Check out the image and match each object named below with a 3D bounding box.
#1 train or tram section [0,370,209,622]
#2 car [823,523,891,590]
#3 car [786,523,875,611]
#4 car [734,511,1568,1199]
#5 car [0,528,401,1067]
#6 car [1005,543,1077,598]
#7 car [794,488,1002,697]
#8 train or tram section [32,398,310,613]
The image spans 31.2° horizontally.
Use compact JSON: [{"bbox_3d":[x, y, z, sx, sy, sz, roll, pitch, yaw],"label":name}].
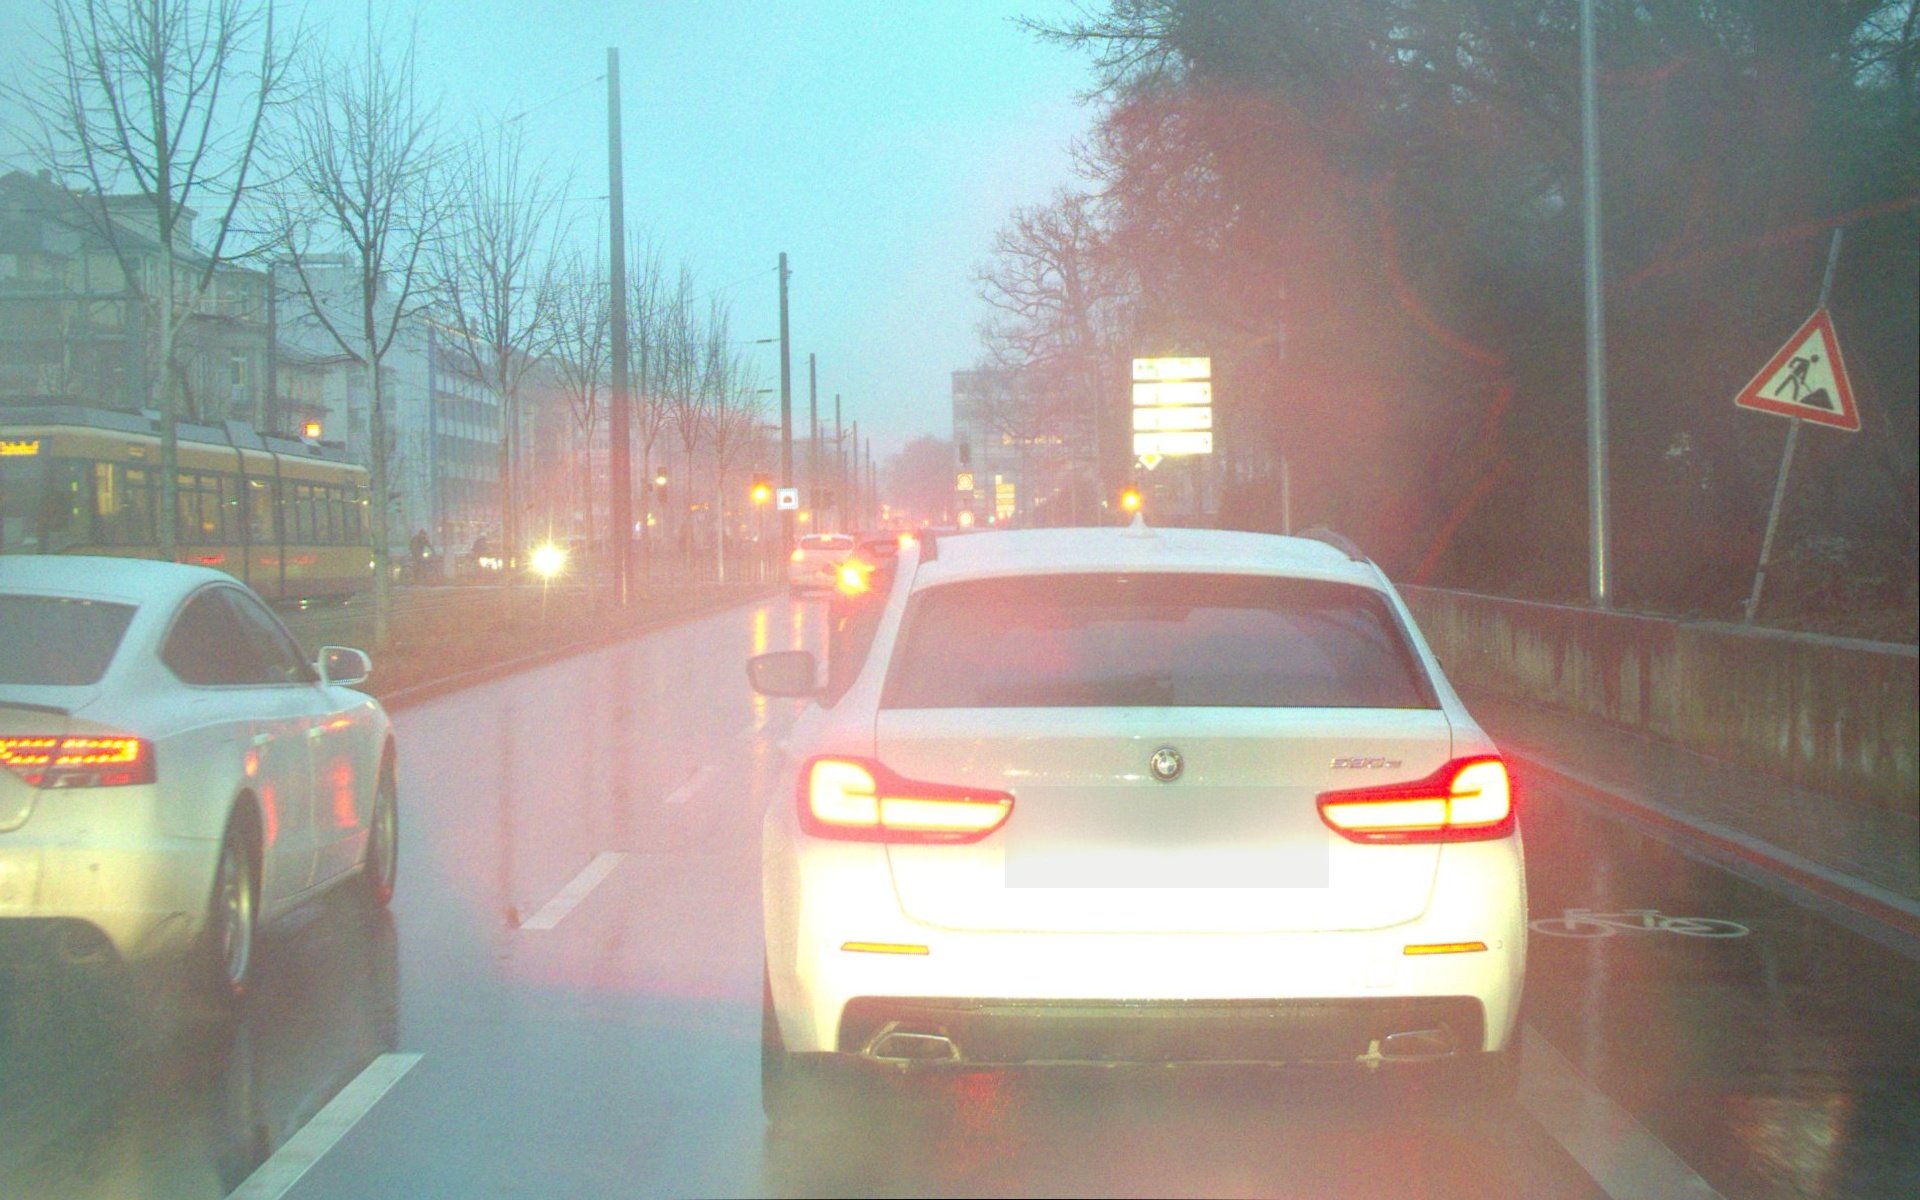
[{"bbox_3d":[-13.914,-1.501,52.560,2.842,3.492,9.159,-2,1,0],"label":"train or tram section"},{"bbox_3d":[-3.148,-1.355,105.765,1.993,2.007,4.000,0,1,0],"label":"car"},{"bbox_3d":[-3.040,-0.796,81.412,1.993,2.007,4.000,0,1,0],"label":"car"},{"bbox_3d":[0.273,0.557,9.429,1.759,1.547,4.252,0,1,-4],"label":"car"},{"bbox_3d":[-3.060,0.500,11.480,1.759,1.464,4.252,0,1,-1],"label":"car"},{"bbox_3d":[3.008,-1.109,127.015,1.994,2.007,3.998,1,1,11],"label":"car"},{"bbox_3d":[-0.619,-0.103,35.216,1.993,2.007,4.000,0,1,0],"label":"car"},{"bbox_3d":[-13.985,-1.651,61.746,2.842,3.492,9.159,-2,1,0],"label":"train or tram section"}]
